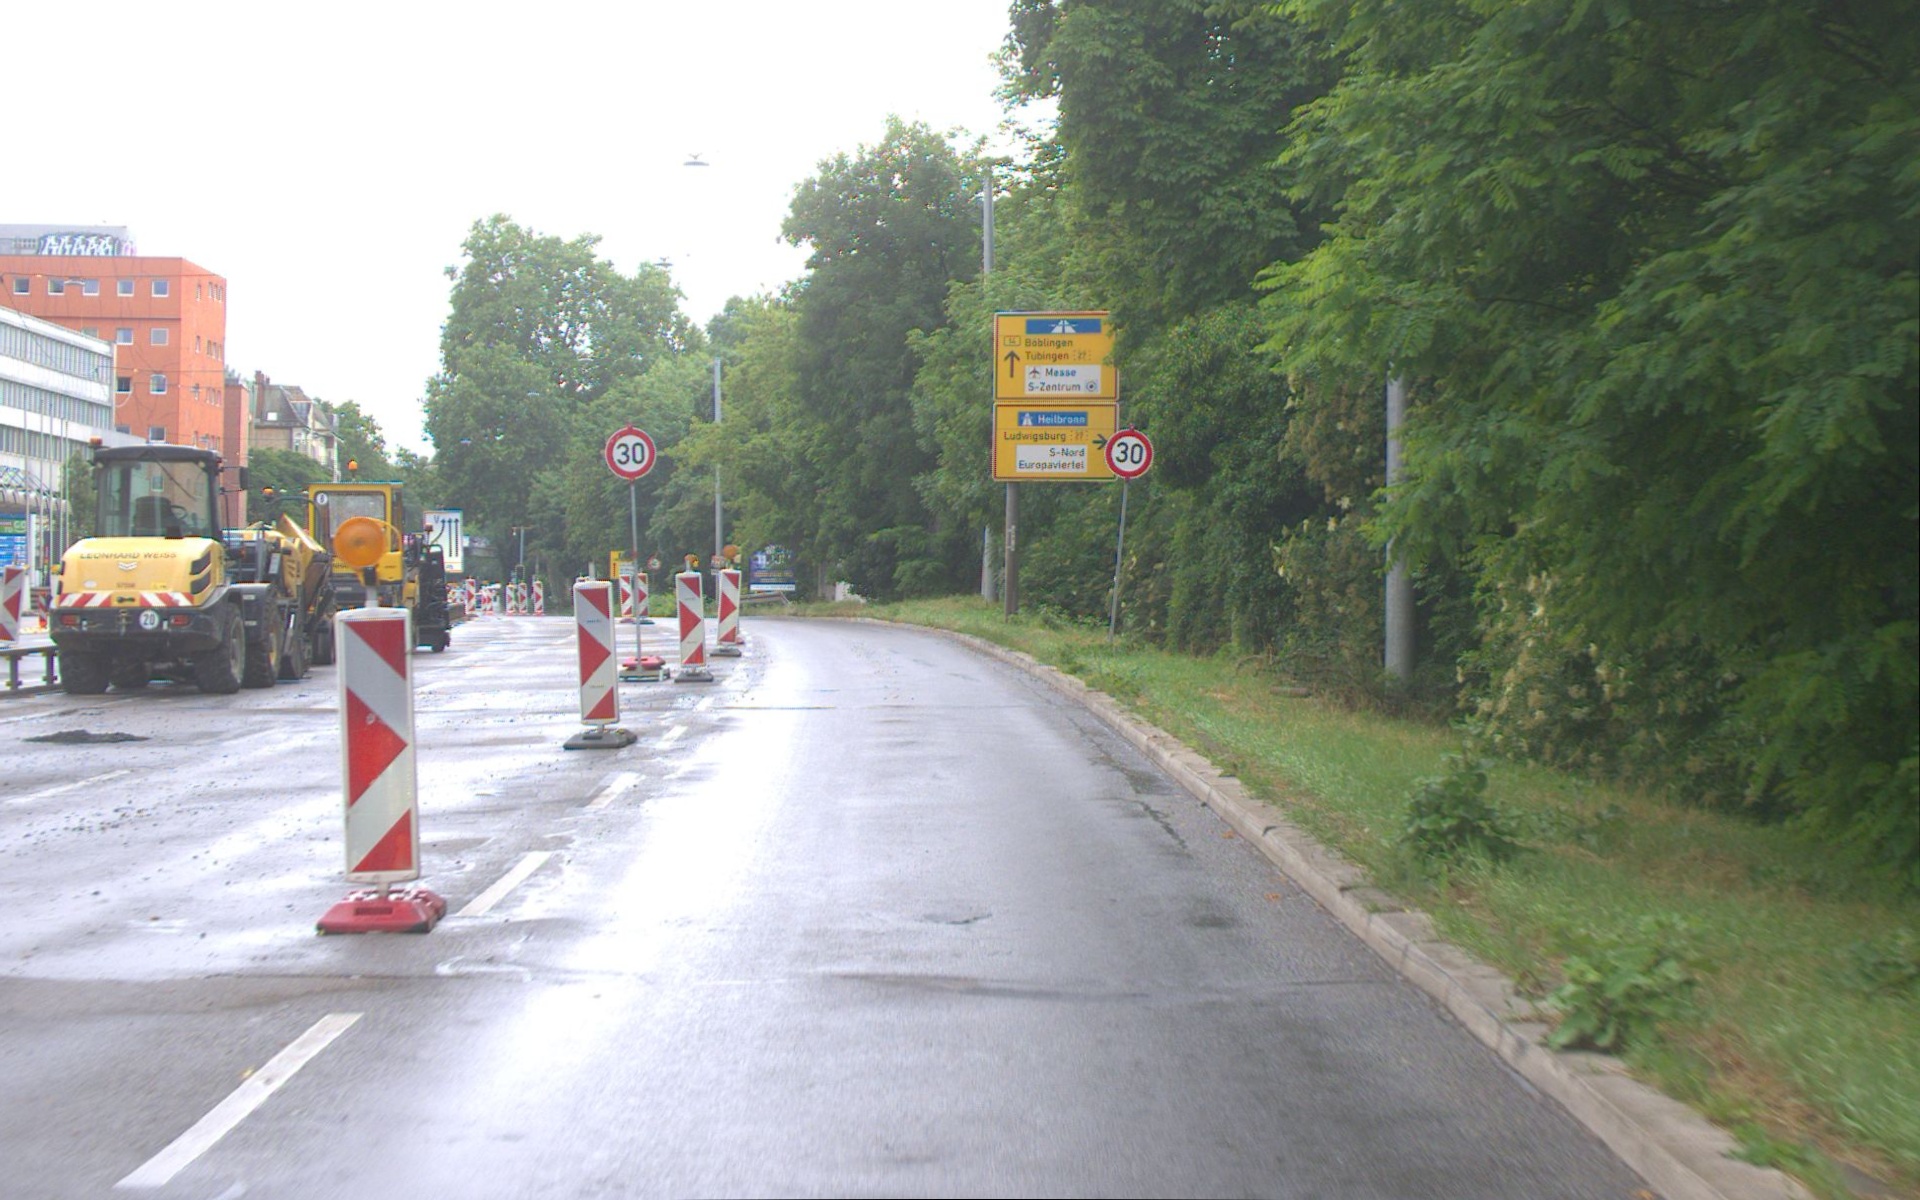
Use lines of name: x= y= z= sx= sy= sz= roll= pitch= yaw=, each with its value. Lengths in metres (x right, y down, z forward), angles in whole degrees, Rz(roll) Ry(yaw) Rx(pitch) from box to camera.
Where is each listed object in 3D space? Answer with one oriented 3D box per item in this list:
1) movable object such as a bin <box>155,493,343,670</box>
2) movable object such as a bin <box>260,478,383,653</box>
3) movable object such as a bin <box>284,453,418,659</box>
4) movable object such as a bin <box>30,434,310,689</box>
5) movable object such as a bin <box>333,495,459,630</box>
movable object such as a bin: x=-8.896 y=-0.244 z=43.349 sx=1.362 sy=2.083 sz=5.030 roll=1 pitch=1 yaw=-1
movable object such as a bin: x=-9.043 y=-0.492 z=48.803 sx=1.410 sy=2.393 sz=2.406 roll=-1 pitch=1 yaw=-4
movable object such as a bin: x=-9.206 y=-0.667 z=52.179 sx=1.465 sy=2.998 sz=3.724 roll=-1 pitch=1 yaw=-2
movable object such as a bin: x=-8.625 y=-0.424 z=38.033 sx=1.902 sy=2.600 sz=5.383 roll=1 pitch=1 yaw=-1
movable object such as a bin: x=-9.284 y=-0.626 z=56.805 sx=1.715 sy=2.142 sz=3.350 roll=-1 pitch=1 yaw=-4
